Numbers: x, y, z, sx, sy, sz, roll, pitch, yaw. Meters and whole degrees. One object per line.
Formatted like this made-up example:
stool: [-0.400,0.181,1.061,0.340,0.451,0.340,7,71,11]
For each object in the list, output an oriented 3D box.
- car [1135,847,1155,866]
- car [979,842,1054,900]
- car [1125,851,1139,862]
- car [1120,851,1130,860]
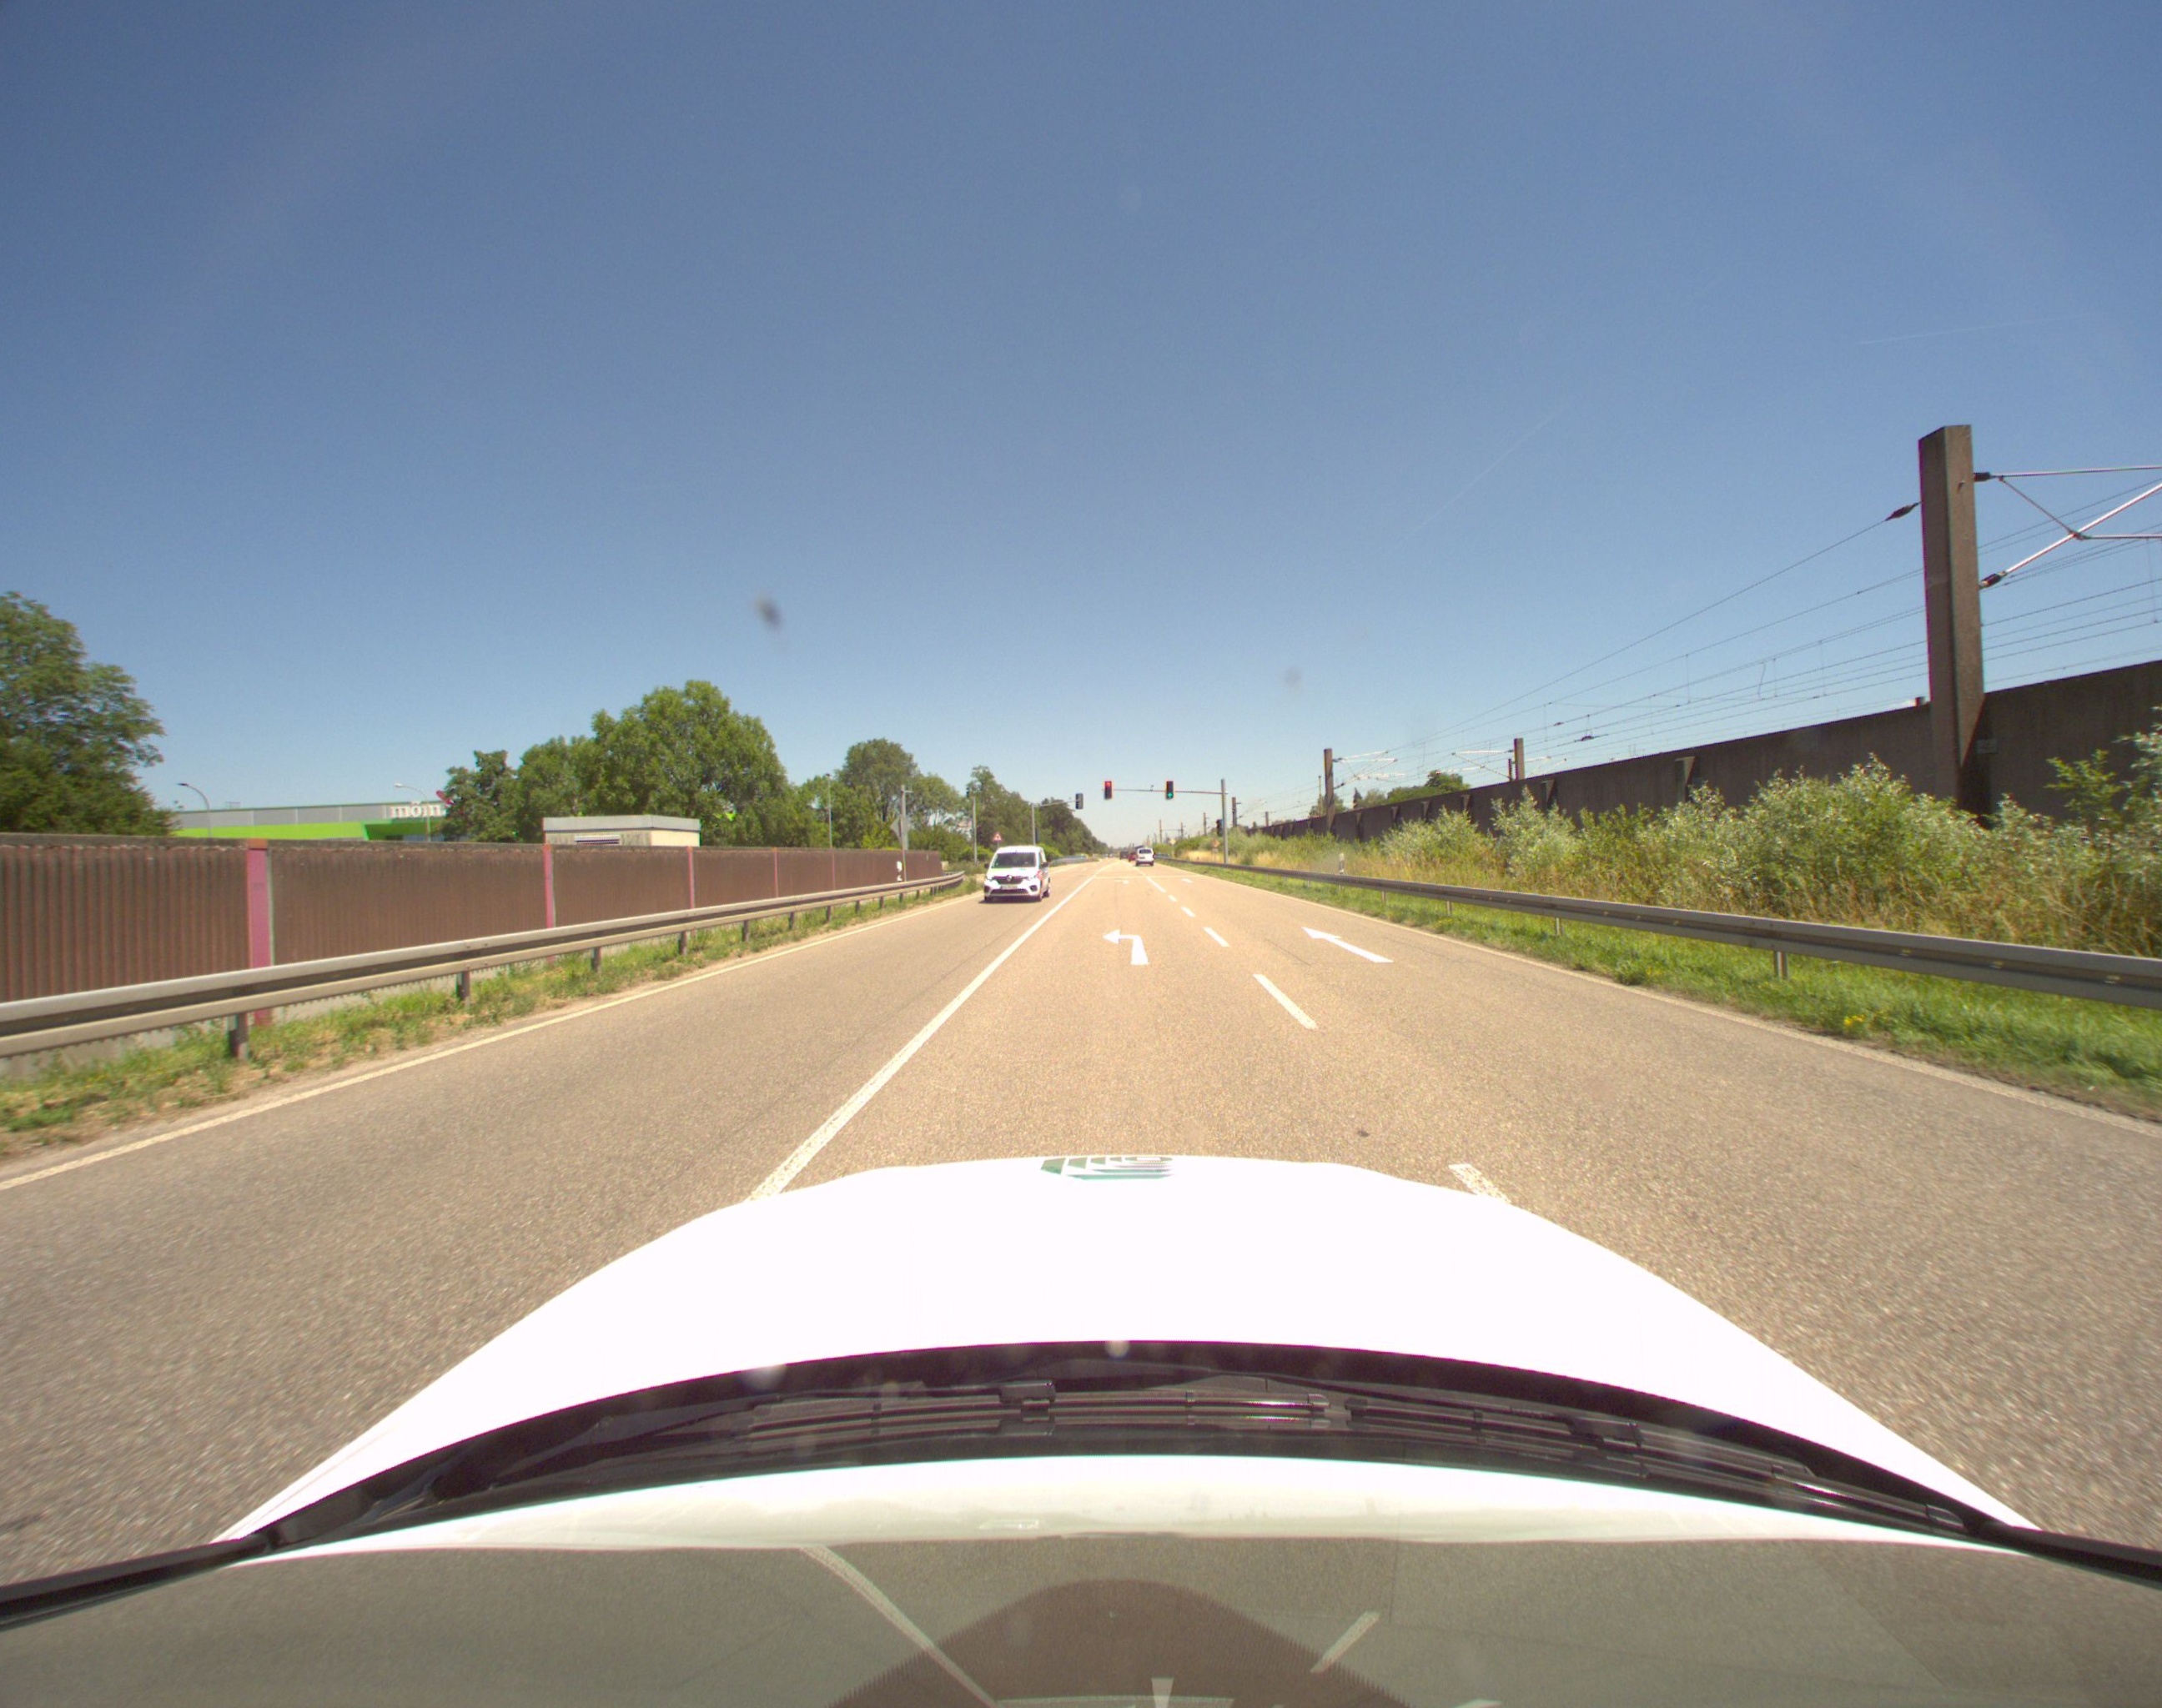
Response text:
car: [6.998,0.259,89.118,1.986,1.983,4.061,0,0,1]
car: [-2.060,0.509,27.311,1.879,1.740,4.780,-1,0,3]
car: [8.130,0.360,130.172,2.013,1.726,4.543,-1,0,1]
car: [10.096,0.360,185.814,2.147,1.968,4.543,-1,0,1]
